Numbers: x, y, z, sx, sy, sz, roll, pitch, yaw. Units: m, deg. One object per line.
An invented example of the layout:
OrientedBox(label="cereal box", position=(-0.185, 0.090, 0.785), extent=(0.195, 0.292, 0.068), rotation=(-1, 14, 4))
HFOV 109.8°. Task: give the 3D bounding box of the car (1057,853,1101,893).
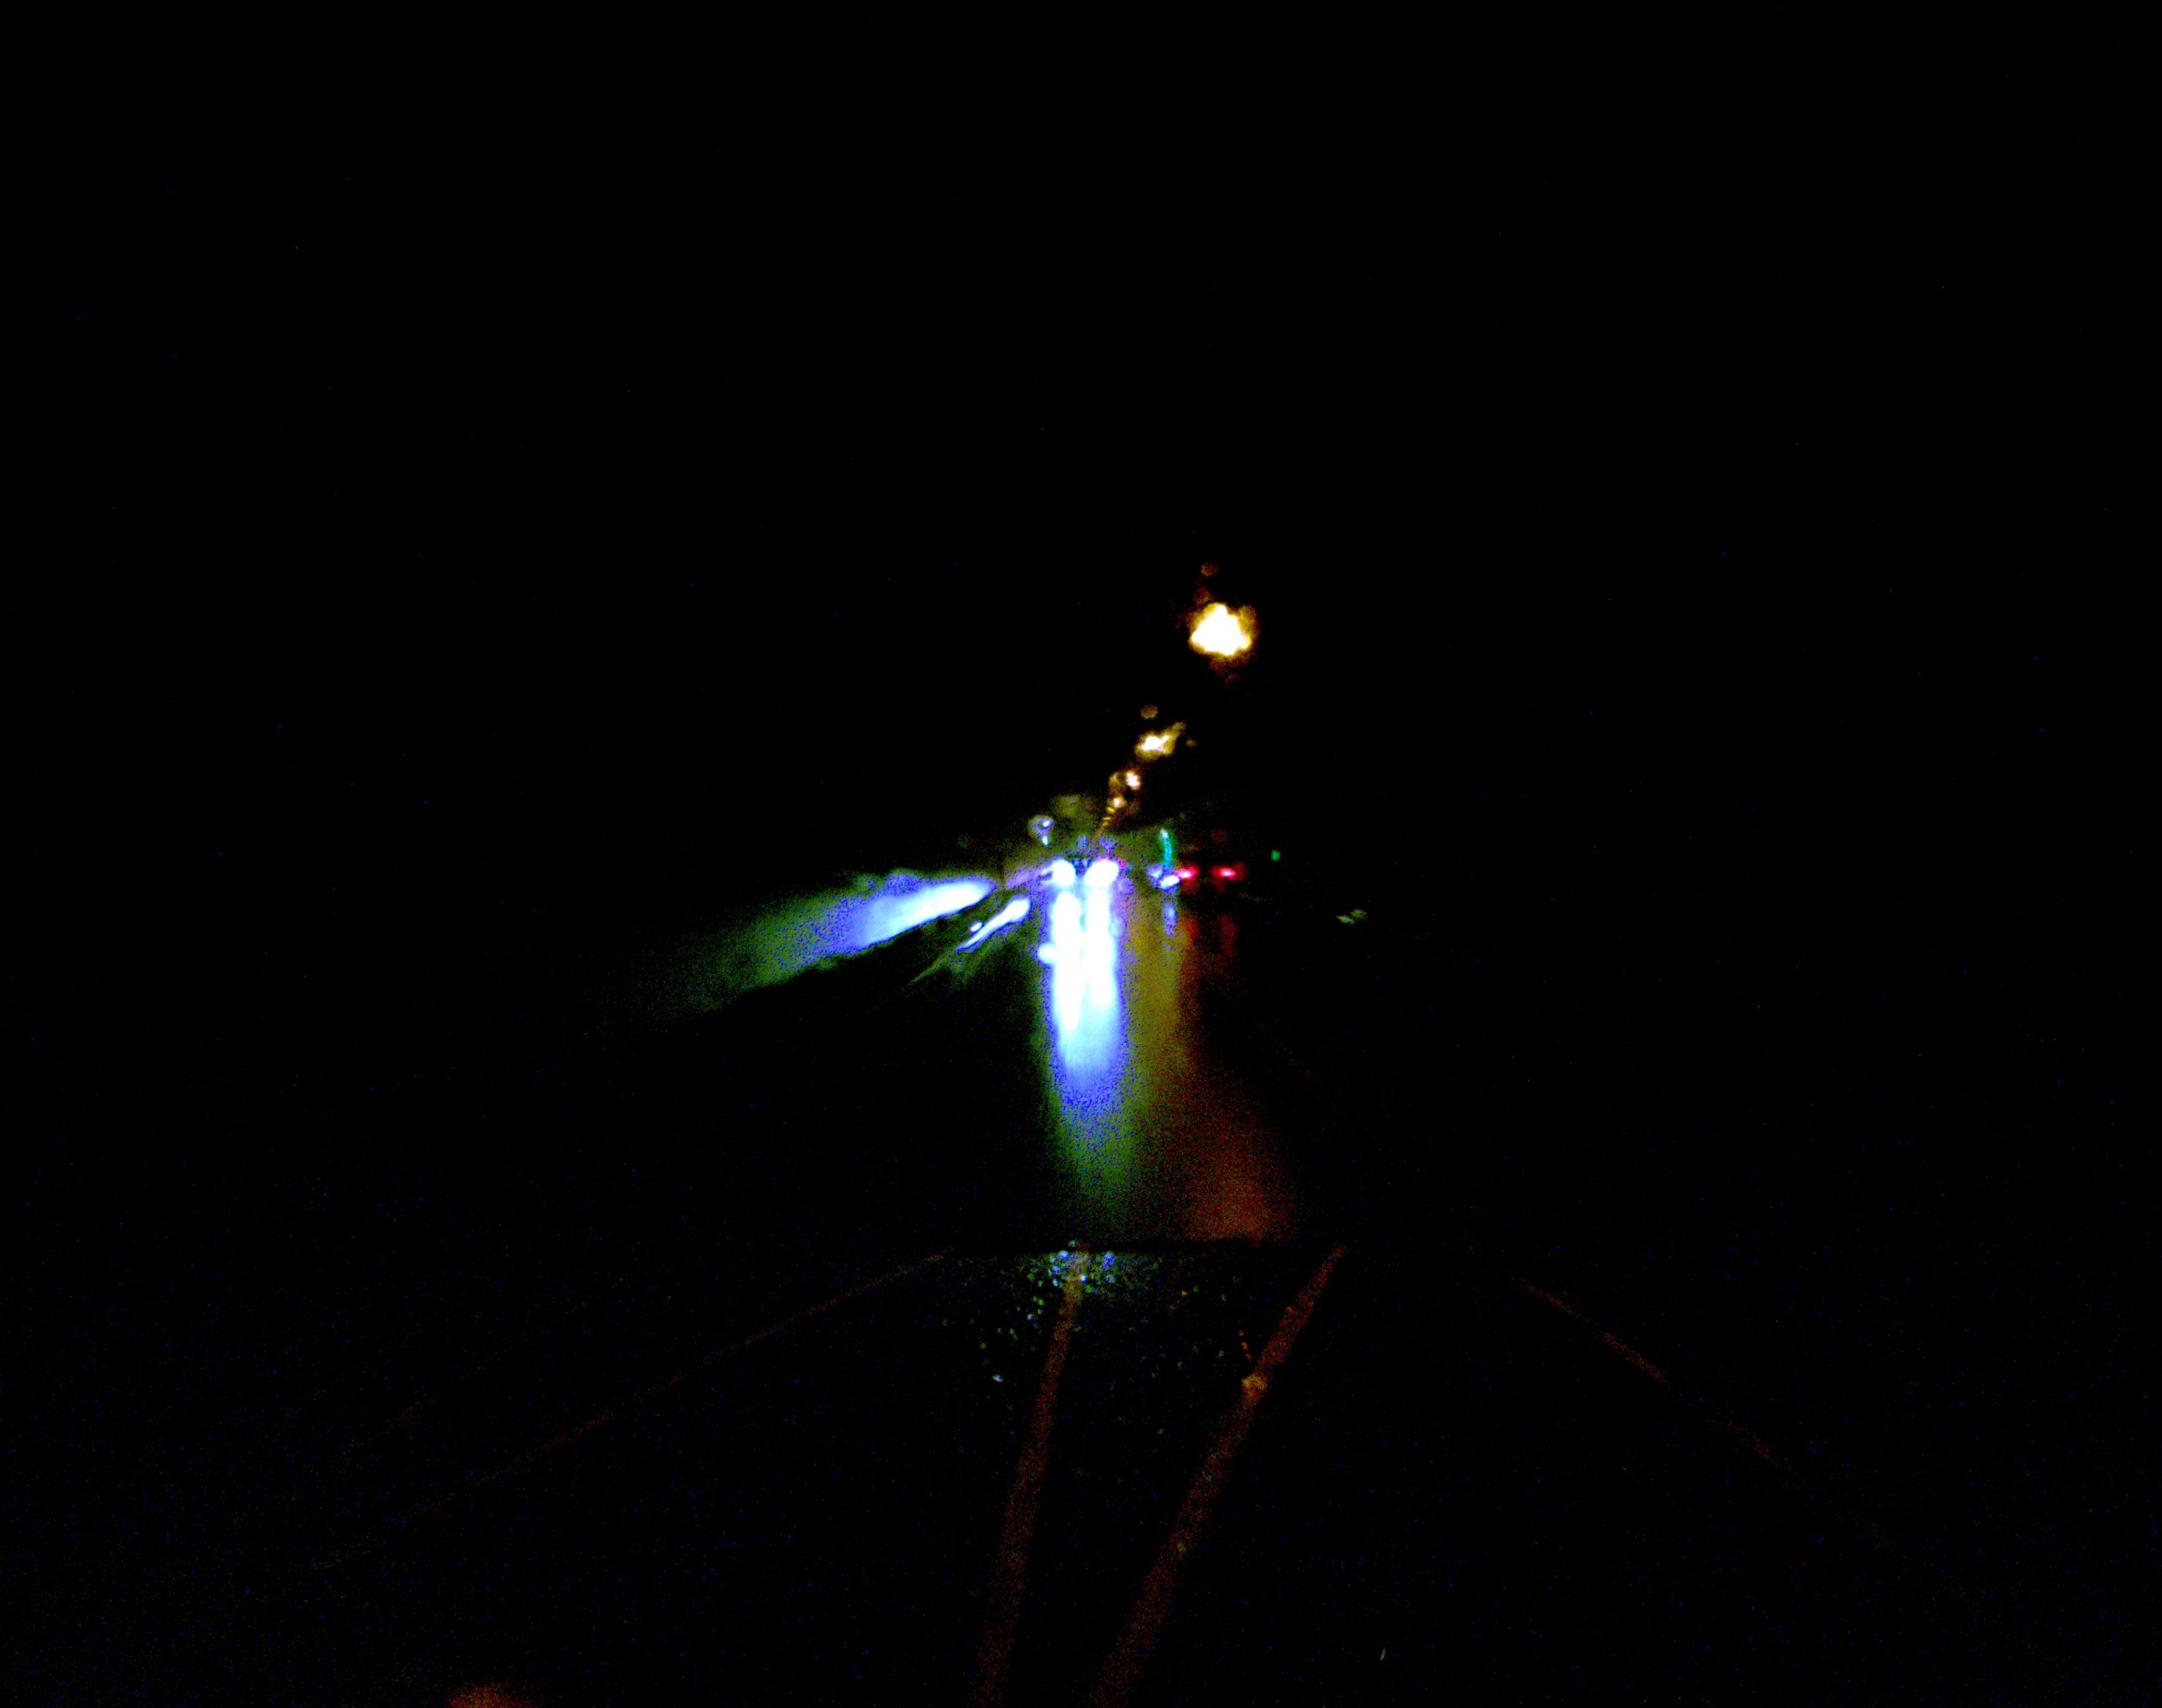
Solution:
OrientedBox(label="car", position=(-0.051, 0.794, 34.549), extent=(1.829, 1.650, 3.929), rotation=(-2, 0, 1))

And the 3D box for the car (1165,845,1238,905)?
OrientedBox(label="car", position=(3.624, 0.578, 23.394), extent=(1.602, 1.604, 3.995), rotation=(-2, 0, 1))

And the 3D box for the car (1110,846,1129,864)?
OrientedBox(label="car", position=(4.582, 0.127, 91.418), extent=(2.090, 2.002, 4.559), rotation=(-3, 0, 1))
